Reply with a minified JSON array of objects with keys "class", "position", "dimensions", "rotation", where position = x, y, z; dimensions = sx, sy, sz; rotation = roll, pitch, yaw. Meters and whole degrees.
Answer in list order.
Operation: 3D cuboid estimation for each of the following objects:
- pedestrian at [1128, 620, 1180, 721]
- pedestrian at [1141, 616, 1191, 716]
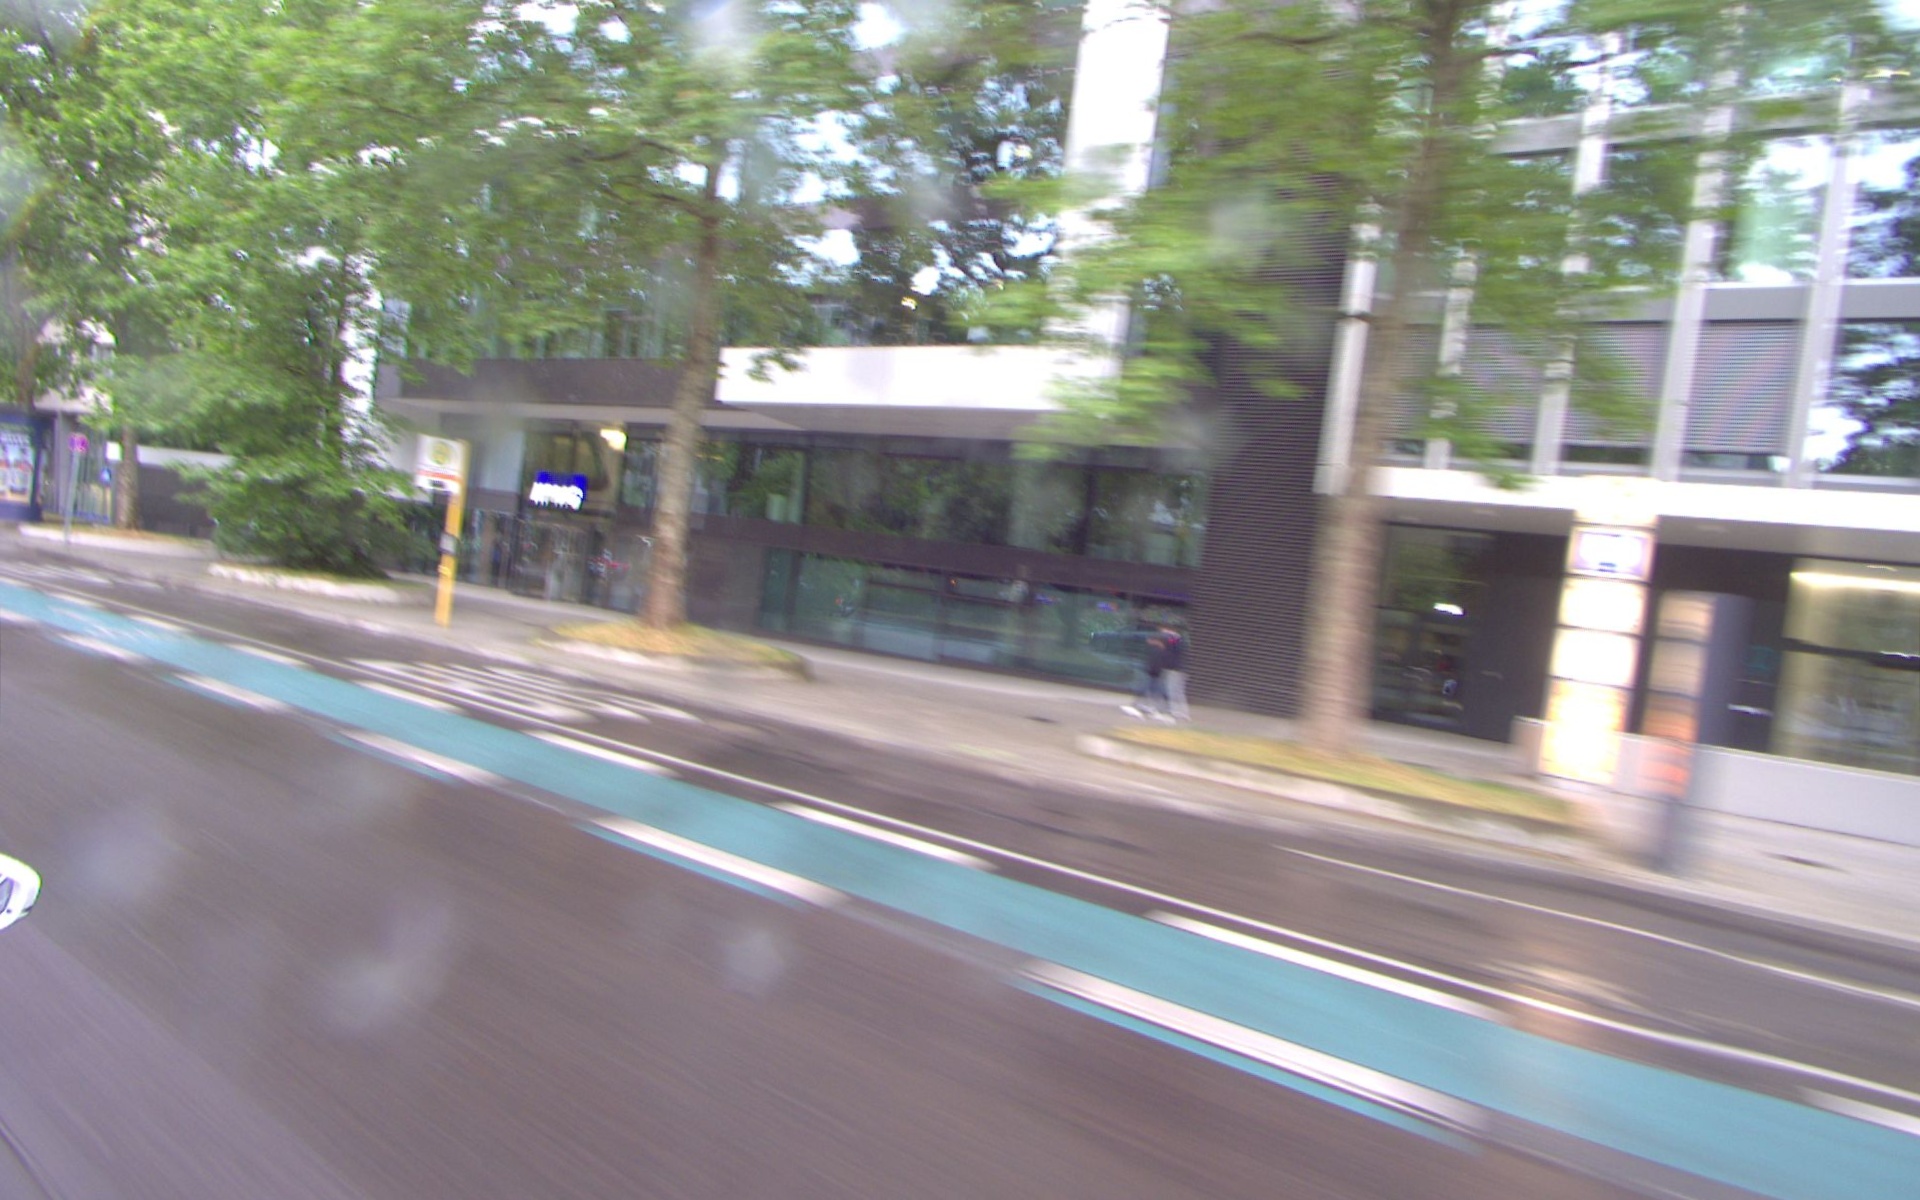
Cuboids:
[{"class":"pedestrian","position":[3.664,1.325,18.996],"dimensions":[0.597,1.816,0.563],"rotation":[8,1,29]},{"class":"pedestrian","position":[4.052,1.300,19.778],"dimensions":[0.597,1.877,0.563],"rotation":[8,1,29]}]
